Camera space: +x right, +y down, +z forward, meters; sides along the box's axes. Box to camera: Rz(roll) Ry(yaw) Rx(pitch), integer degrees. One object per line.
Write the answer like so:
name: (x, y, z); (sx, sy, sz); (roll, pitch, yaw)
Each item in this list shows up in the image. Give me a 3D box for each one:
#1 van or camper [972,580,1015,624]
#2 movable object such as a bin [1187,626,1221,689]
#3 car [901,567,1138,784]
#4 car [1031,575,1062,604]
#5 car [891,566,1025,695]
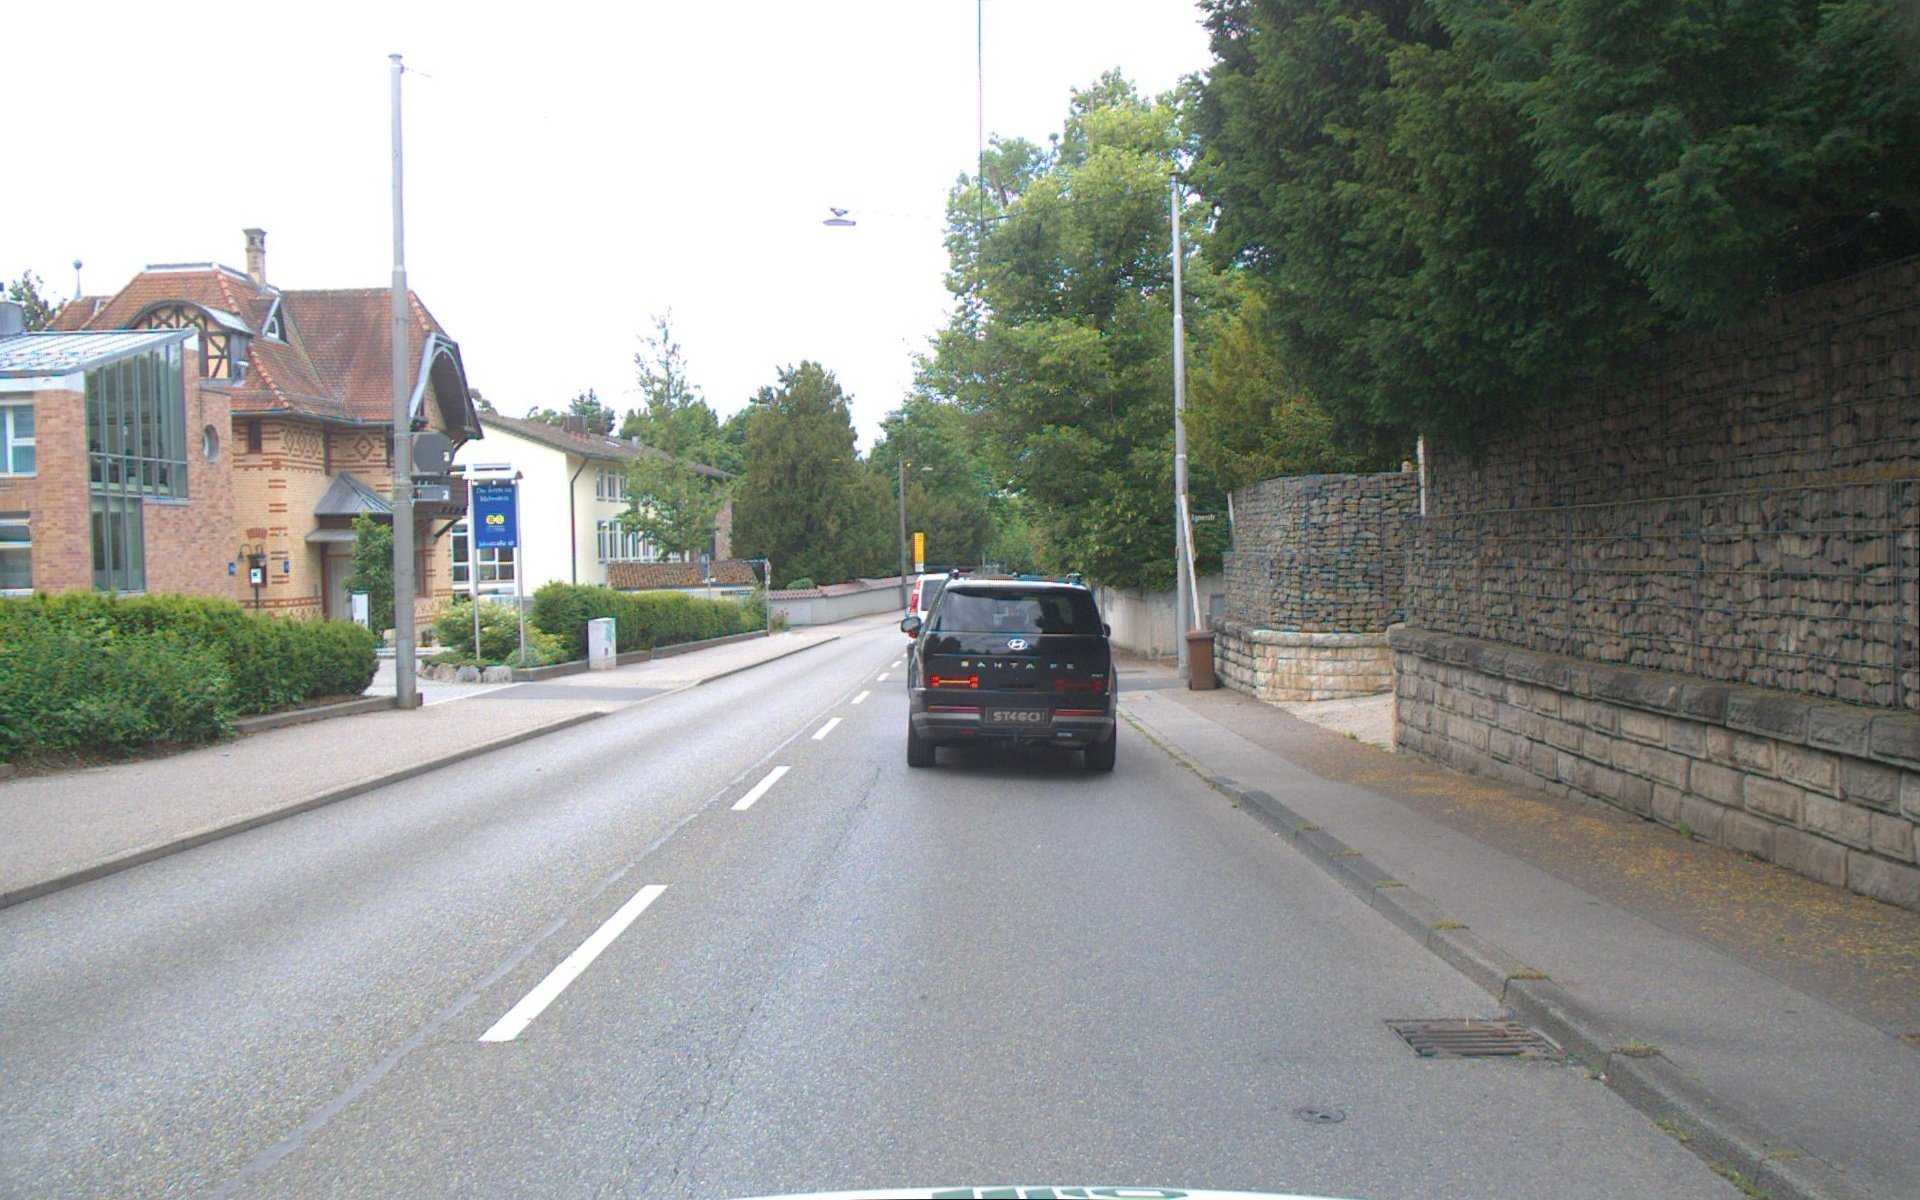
van or camper: (1.731, 0.069, 83.332); (1.640, 2.042, 3.942); (-1, 2, 8)
movable object such as a bin: (3.762, 0.884, 25.483); (0.435, 0.925, 0.394); (-4, -1, 9)
car: (0.513, 0.604, 15.803); (1.917, 1.743, 4.223); (2, 0, 0)
car: (6.159, -0.729, 117.269); (1.915, 1.990, 4.226); (1, 1, 6)
car: (-0.121, 0.453, 28.166); (1.919, 1.990, 4.219); (1, 1, -5)
